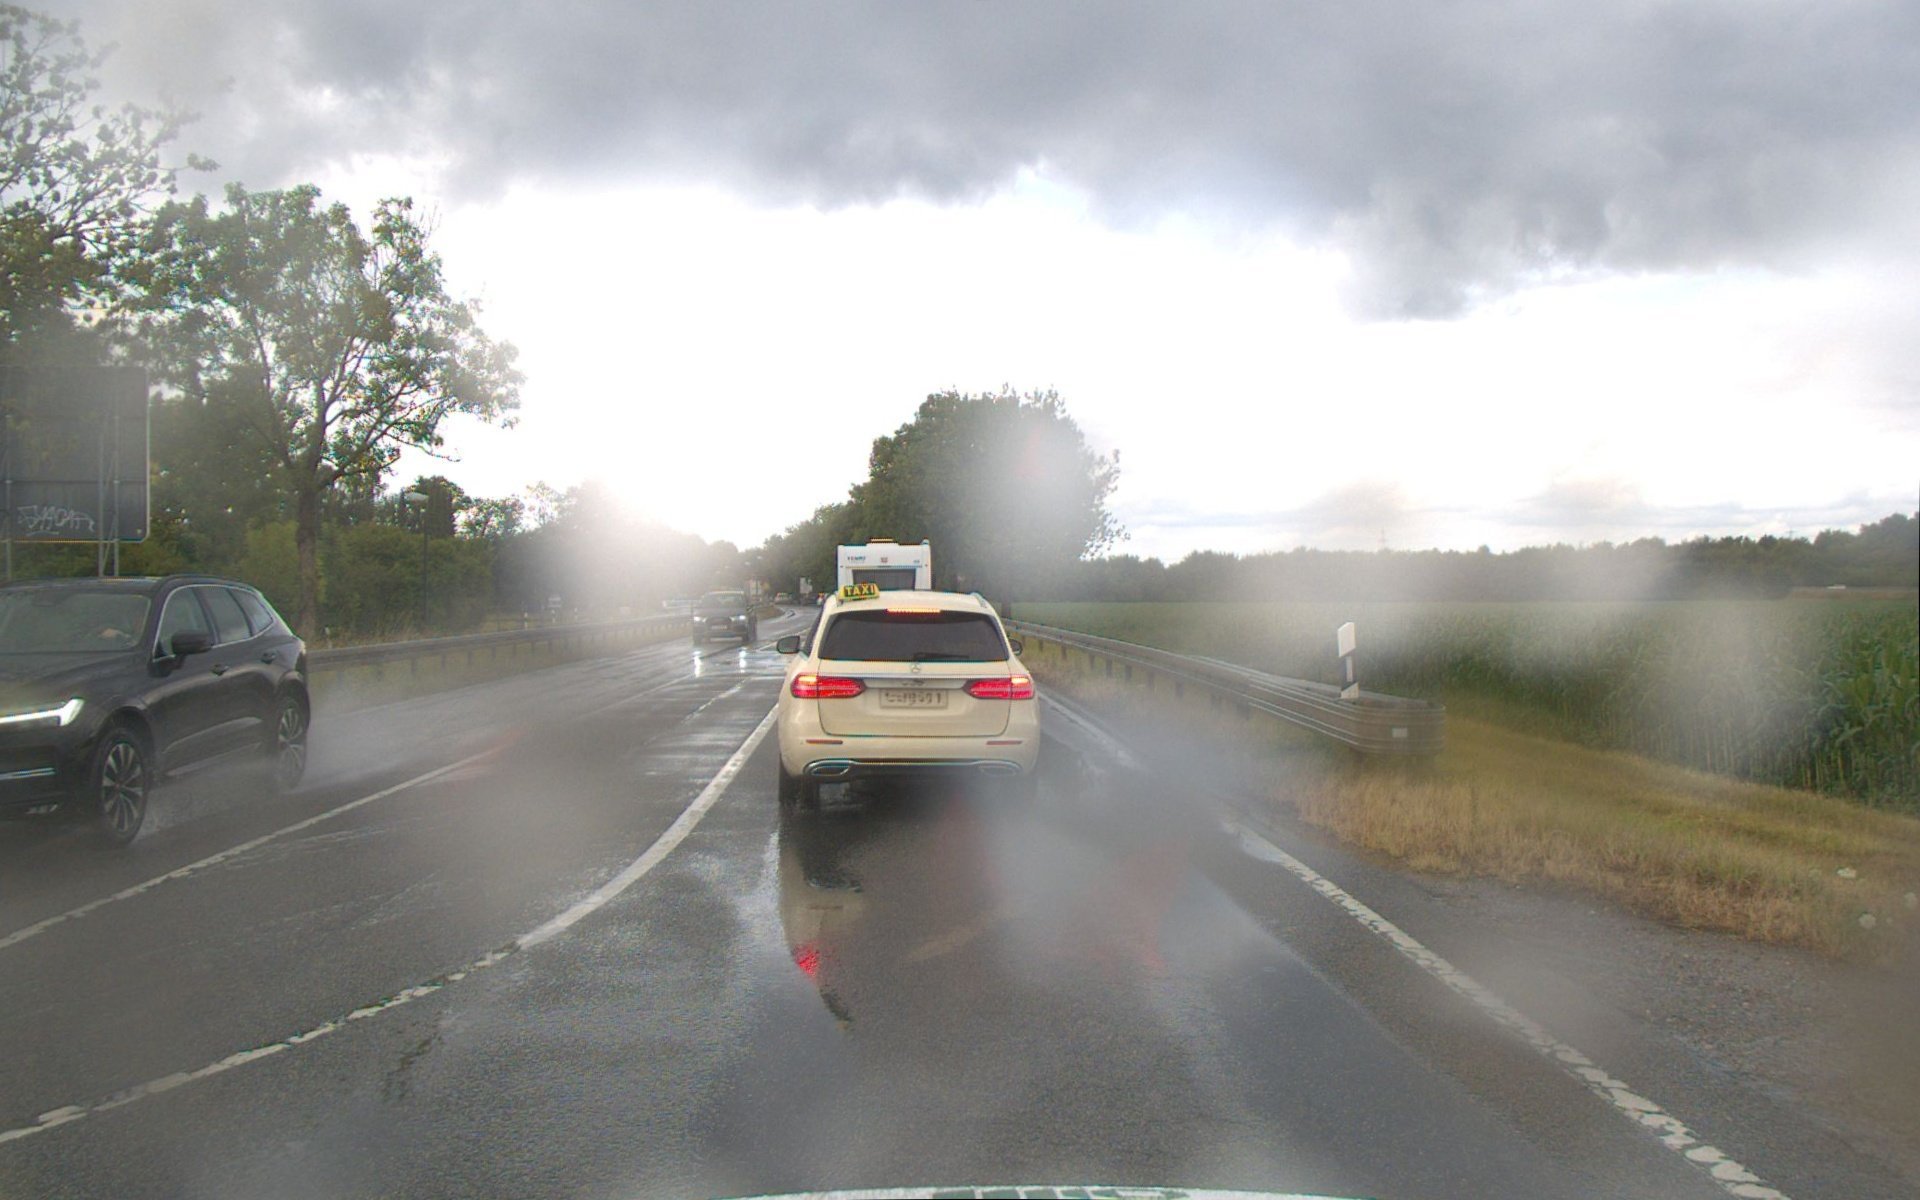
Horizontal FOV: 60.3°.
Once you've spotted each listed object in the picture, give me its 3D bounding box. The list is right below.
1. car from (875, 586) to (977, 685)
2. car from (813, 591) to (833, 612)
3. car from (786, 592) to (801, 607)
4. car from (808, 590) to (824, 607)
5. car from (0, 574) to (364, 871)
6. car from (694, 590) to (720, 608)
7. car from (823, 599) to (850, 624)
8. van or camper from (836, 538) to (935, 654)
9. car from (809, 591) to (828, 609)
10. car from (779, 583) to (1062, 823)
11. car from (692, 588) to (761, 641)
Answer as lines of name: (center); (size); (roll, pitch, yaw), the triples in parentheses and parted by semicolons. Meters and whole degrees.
car: (-0.623, 0.545, 28.092); (1.595, 1.556, 3.930); (-1, 0, -3)
car: (-13.982, 0.163, 168.666); (1.956, 2.049, 3.994); (0, 0, -7)
car: (-23.614, -0.110, 233.905); (1.956, 2.049, 3.993); (0, 0, -8)
car: (-17.545, -0.197, 202.021); (1.955, 2.049, 3.996); (0, 0, -5)
car: (-5.761, 0.677, 11.238); (1.905, 1.608, 4.441); (-2, 0, -2)
car: (-24.780, -0.111, 162.072); (1.953, 1.680, 3.999); (0, 0, -2)
car: (-10.427, 0.978, 139.654); (1.957, 2.049, 3.991); (0, 0, -9)
van or camper: (-1.879, -0.131, 41.844); (2.303, 2.727, 5.765); (0, 1, -3)
car: (-16.188, -0.016, 189.023); (1.953, 2.087, 3.998); (0, 0, -2)
car: (-0.303, 0.639, 12.505); (1.788, 1.511, 4.144); (0, 0, -2)
car: (-7.443, 0.438, 53.019); (1.733, 1.550, 4.140); (-2, 0, -2)
